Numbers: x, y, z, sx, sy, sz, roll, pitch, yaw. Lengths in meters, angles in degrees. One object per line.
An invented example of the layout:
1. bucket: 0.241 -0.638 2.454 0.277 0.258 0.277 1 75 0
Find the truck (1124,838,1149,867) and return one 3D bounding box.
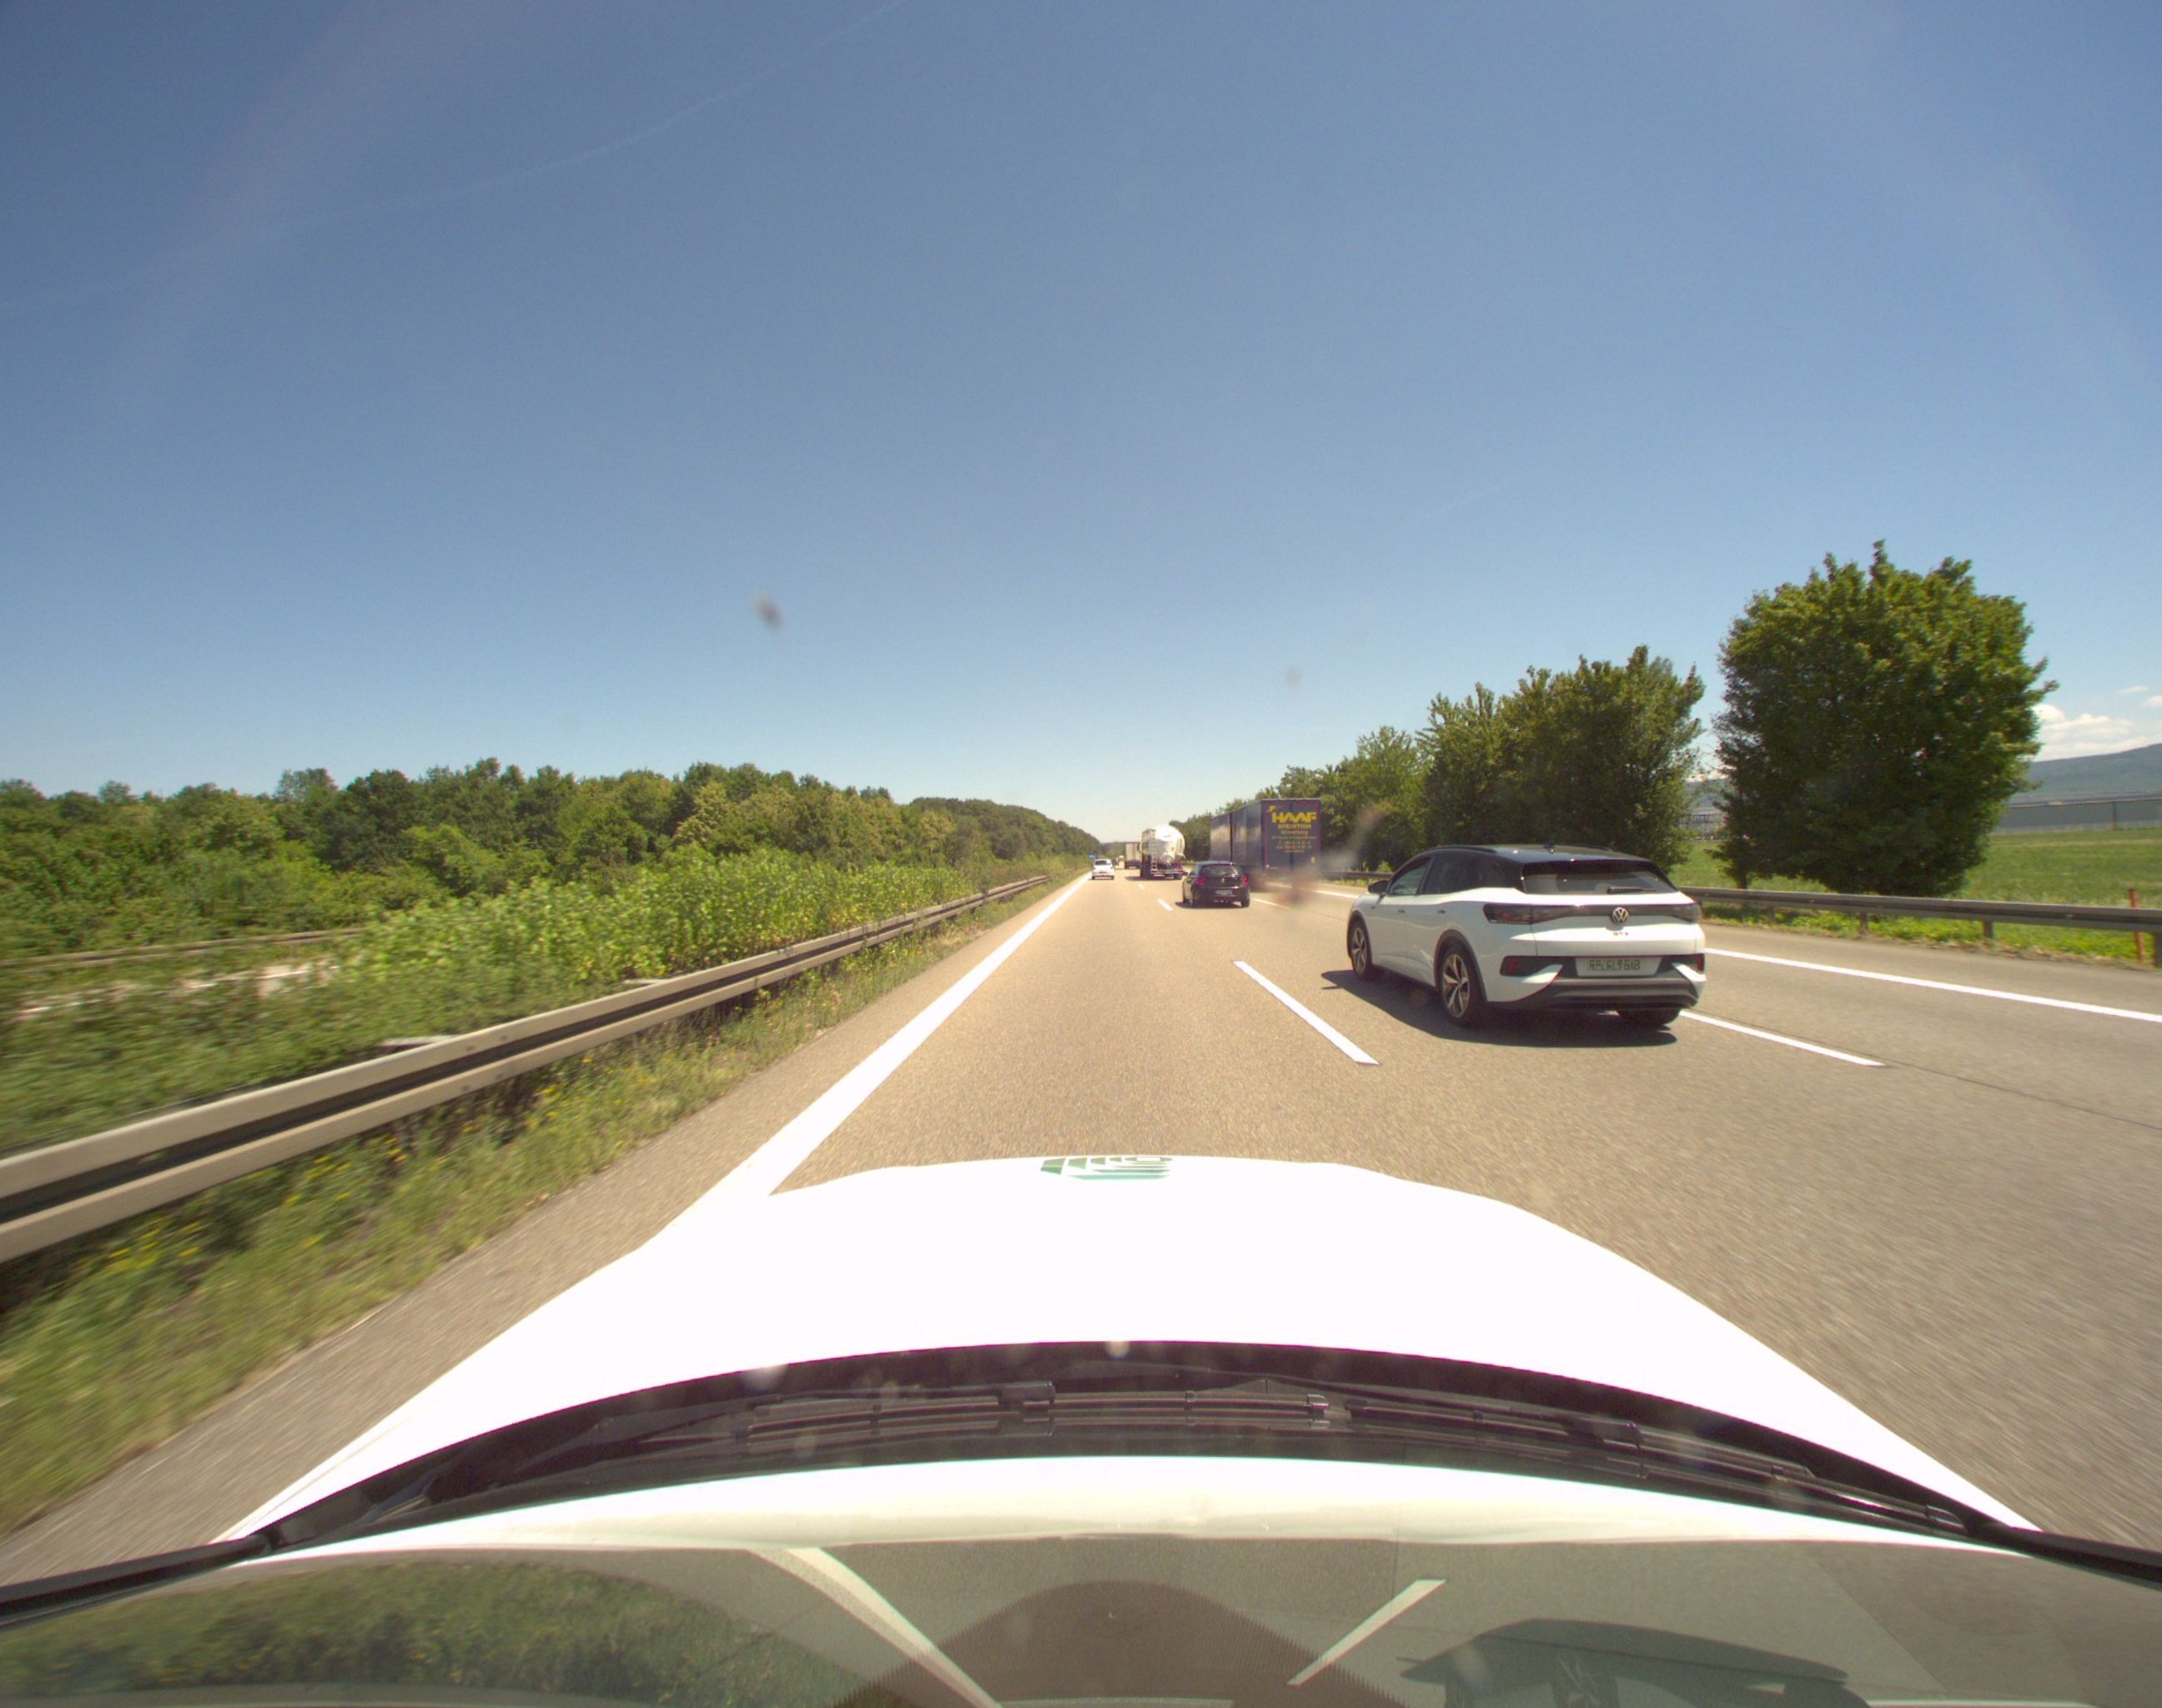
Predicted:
1. truck: 8.409 -0.180 124.313 3.381 4.214 12.089 0 0 2

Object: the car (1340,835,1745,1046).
1. car: 4.214 0.661 8.402 1.796 1.603 4.382 0 0 1

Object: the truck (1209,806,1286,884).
1. truck: 9.409 -0.464 47.009 3.097 4.139 8.060 0 0 2

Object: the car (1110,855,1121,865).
1. car: 7.944 1.445 189.186 2.465 2.354 5.184 0 0 2

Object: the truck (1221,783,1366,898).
1. truck: 9.046 -0.478 37.314 3.097 4.139 15.518 0 0 2

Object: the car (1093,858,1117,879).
1. car: 1.789 1.064 61.780 1.793 1.552 3.610 0 0 0

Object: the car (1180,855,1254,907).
1. car: 4.240 0.803 25.988 1.843 1.523 3.959 0 0 2

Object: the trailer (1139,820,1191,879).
1. trailer: 6.173 -0.304 61.832 2.901 4.069 12.420 0 0 1

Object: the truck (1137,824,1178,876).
1. truck: 6.265 -0.297 67.984 2.901 4.079 7.196 0 0 1
